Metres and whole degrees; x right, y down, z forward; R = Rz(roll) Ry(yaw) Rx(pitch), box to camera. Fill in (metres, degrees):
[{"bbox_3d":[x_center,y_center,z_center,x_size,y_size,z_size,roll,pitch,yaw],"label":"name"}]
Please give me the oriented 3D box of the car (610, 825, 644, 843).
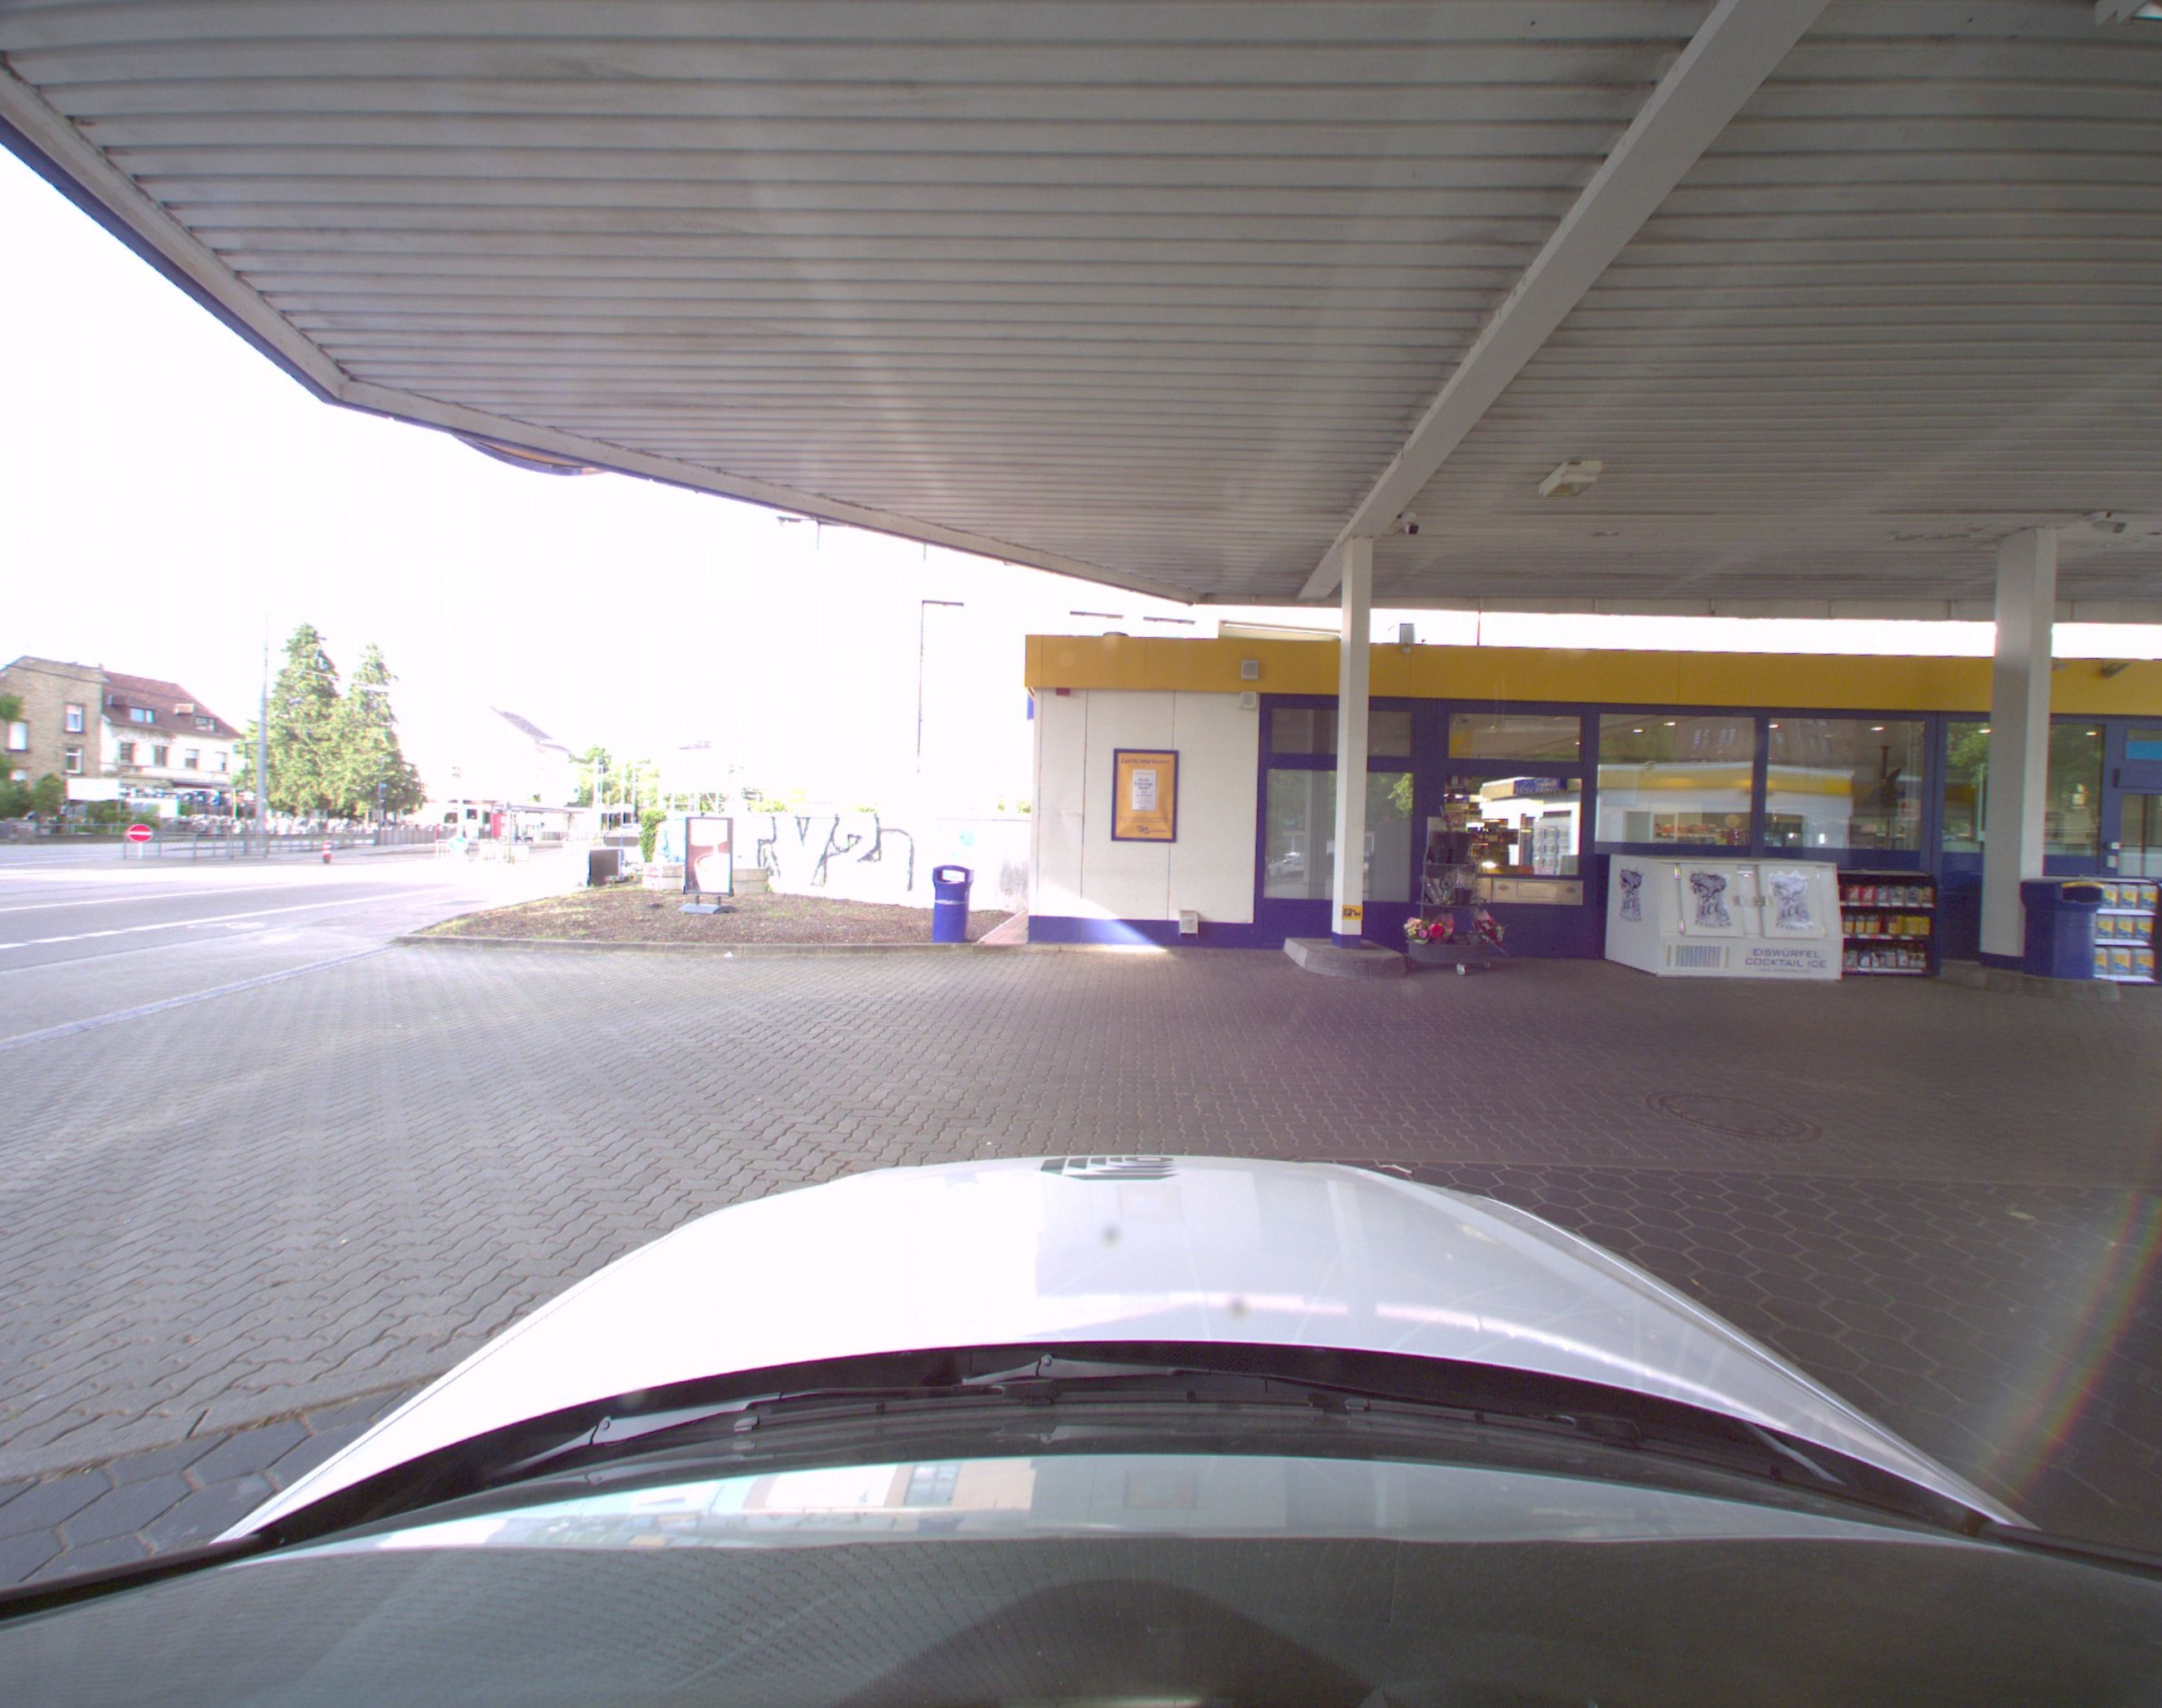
[{"bbox_3d":[-51.673,-2.246,92.784,1.963,1.889,4.395,1,0,-11],"label":"car"}]
